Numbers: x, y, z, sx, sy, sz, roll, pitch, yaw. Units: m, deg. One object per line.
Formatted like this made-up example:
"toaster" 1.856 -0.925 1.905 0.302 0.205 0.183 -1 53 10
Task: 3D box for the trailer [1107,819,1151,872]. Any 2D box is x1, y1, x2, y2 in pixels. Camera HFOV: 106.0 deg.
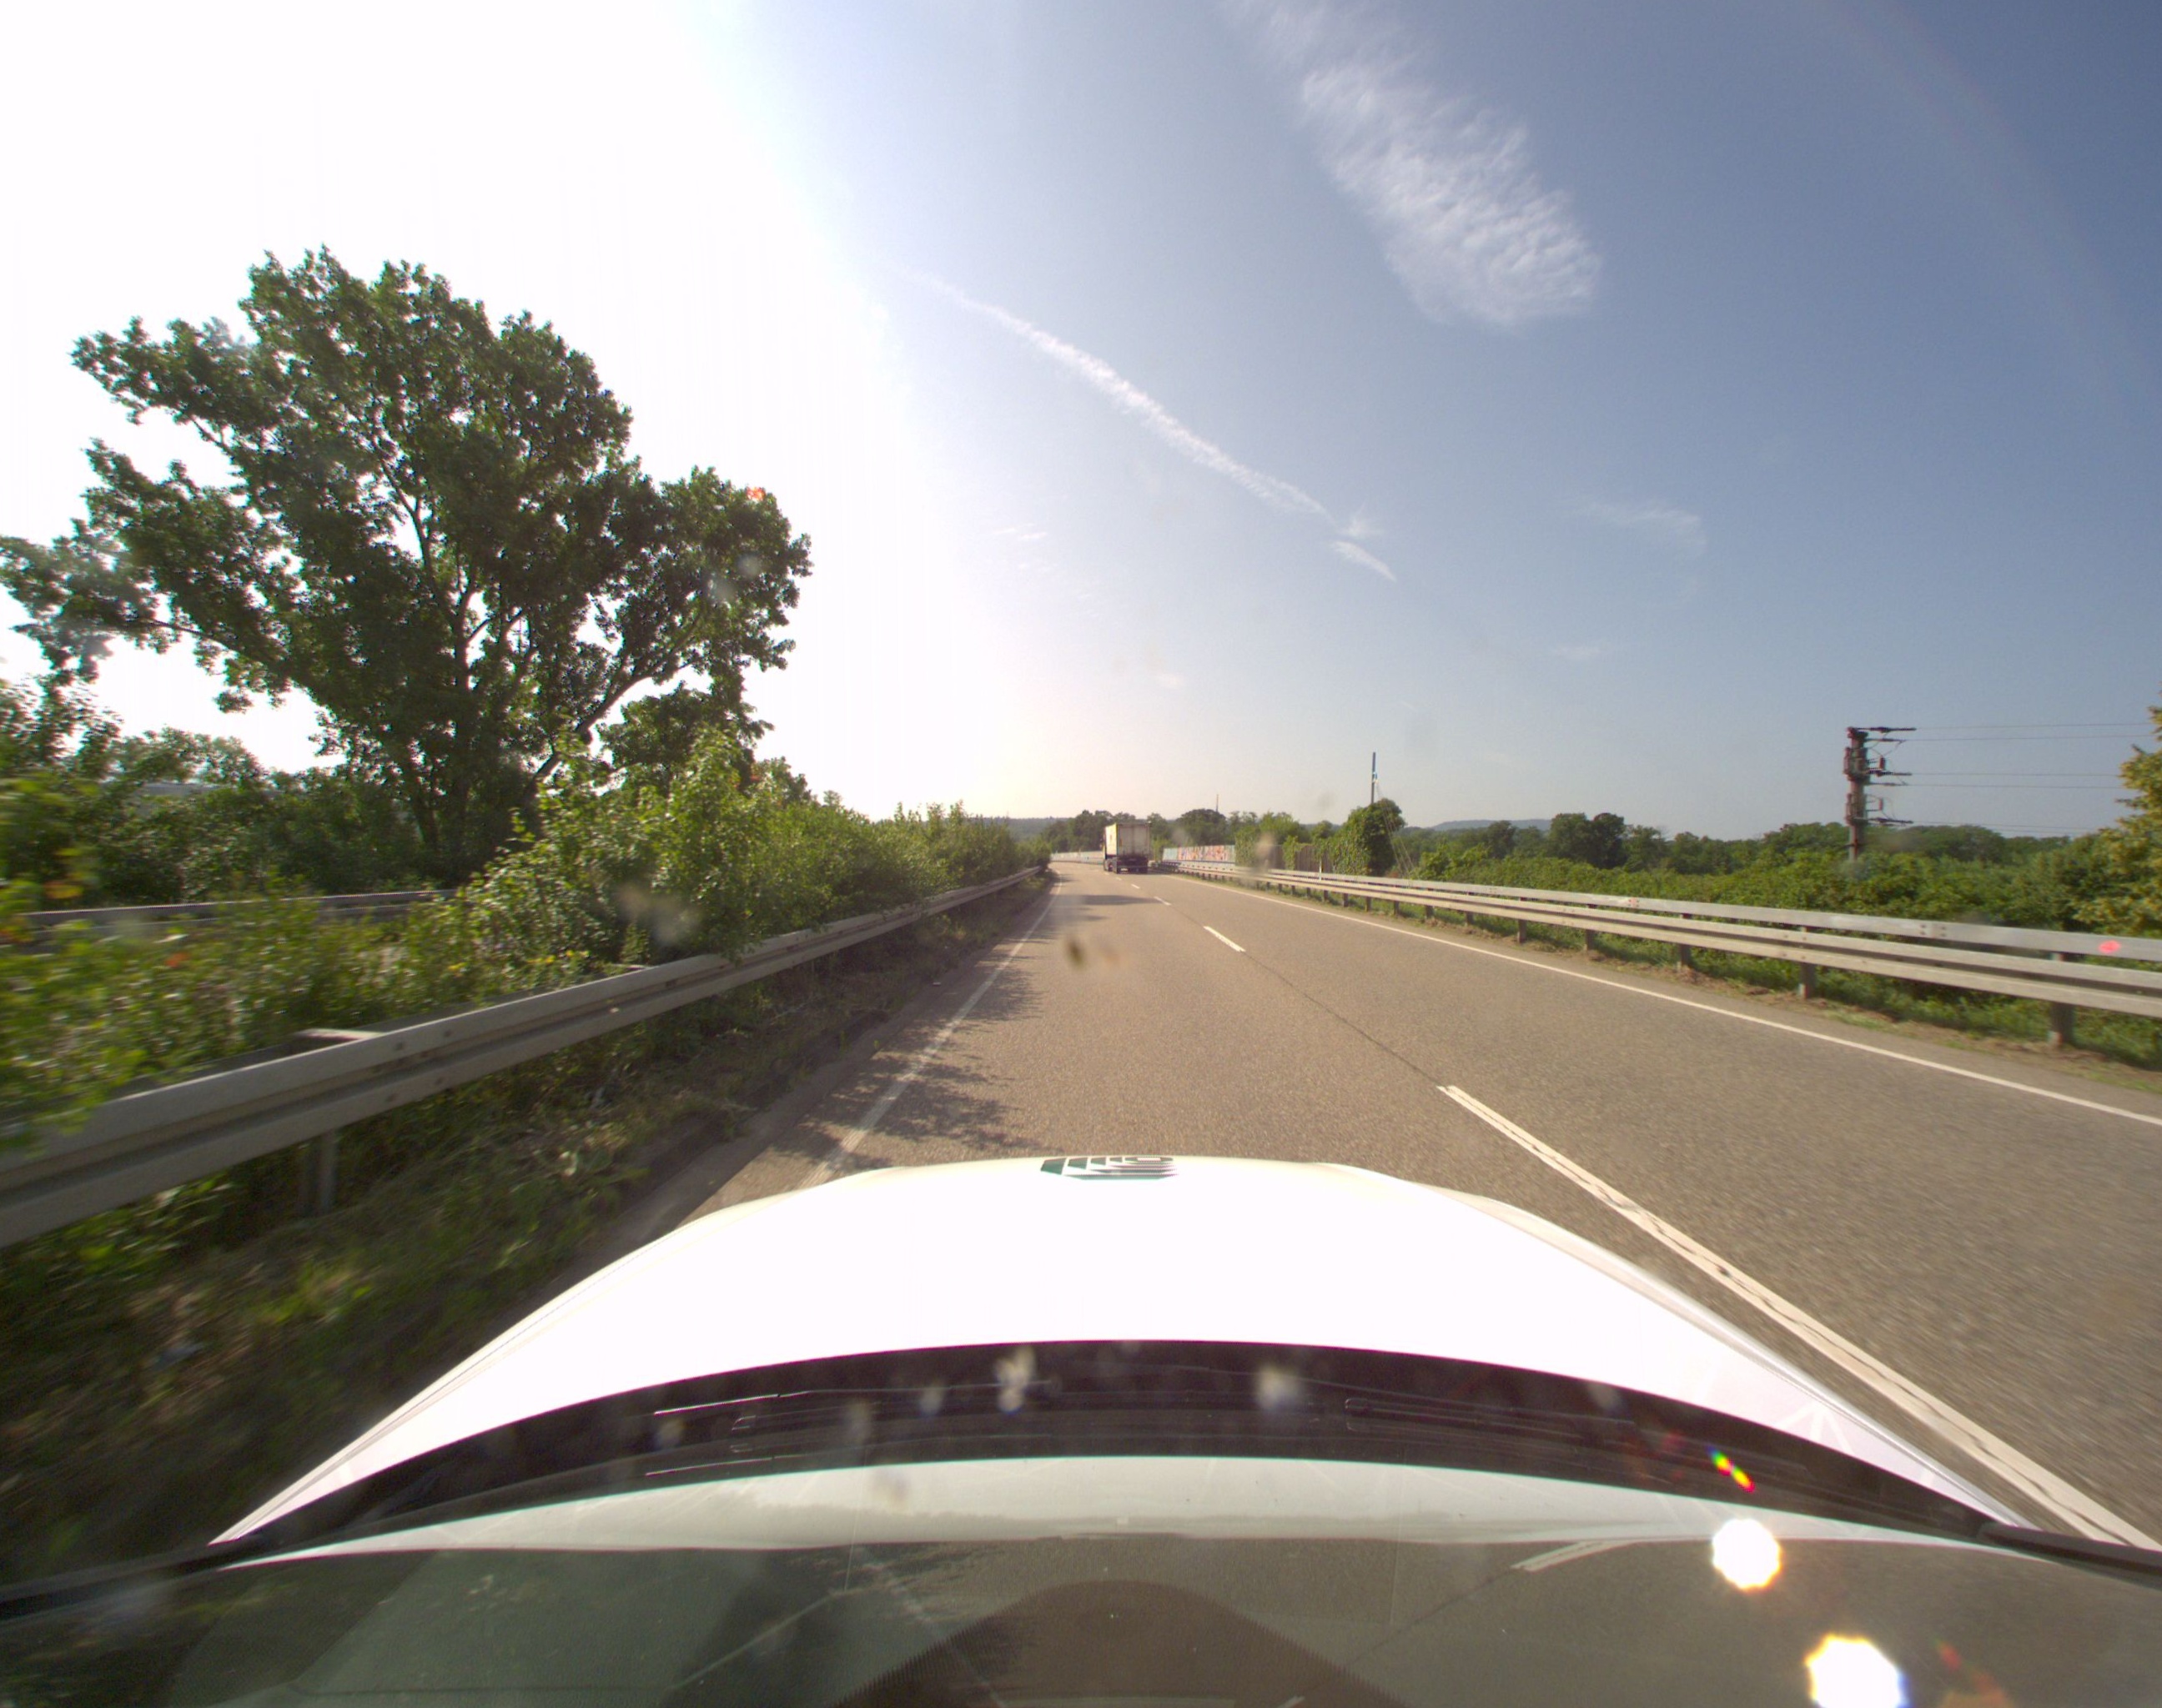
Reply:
"trailer" 3.699 -0.602 64.966 2.672 3.907 9.664 0 0 -2

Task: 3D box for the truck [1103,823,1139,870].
"truck" 3.421 -0.616 70.990 2.652 3.896 5.642 0 0 -3
